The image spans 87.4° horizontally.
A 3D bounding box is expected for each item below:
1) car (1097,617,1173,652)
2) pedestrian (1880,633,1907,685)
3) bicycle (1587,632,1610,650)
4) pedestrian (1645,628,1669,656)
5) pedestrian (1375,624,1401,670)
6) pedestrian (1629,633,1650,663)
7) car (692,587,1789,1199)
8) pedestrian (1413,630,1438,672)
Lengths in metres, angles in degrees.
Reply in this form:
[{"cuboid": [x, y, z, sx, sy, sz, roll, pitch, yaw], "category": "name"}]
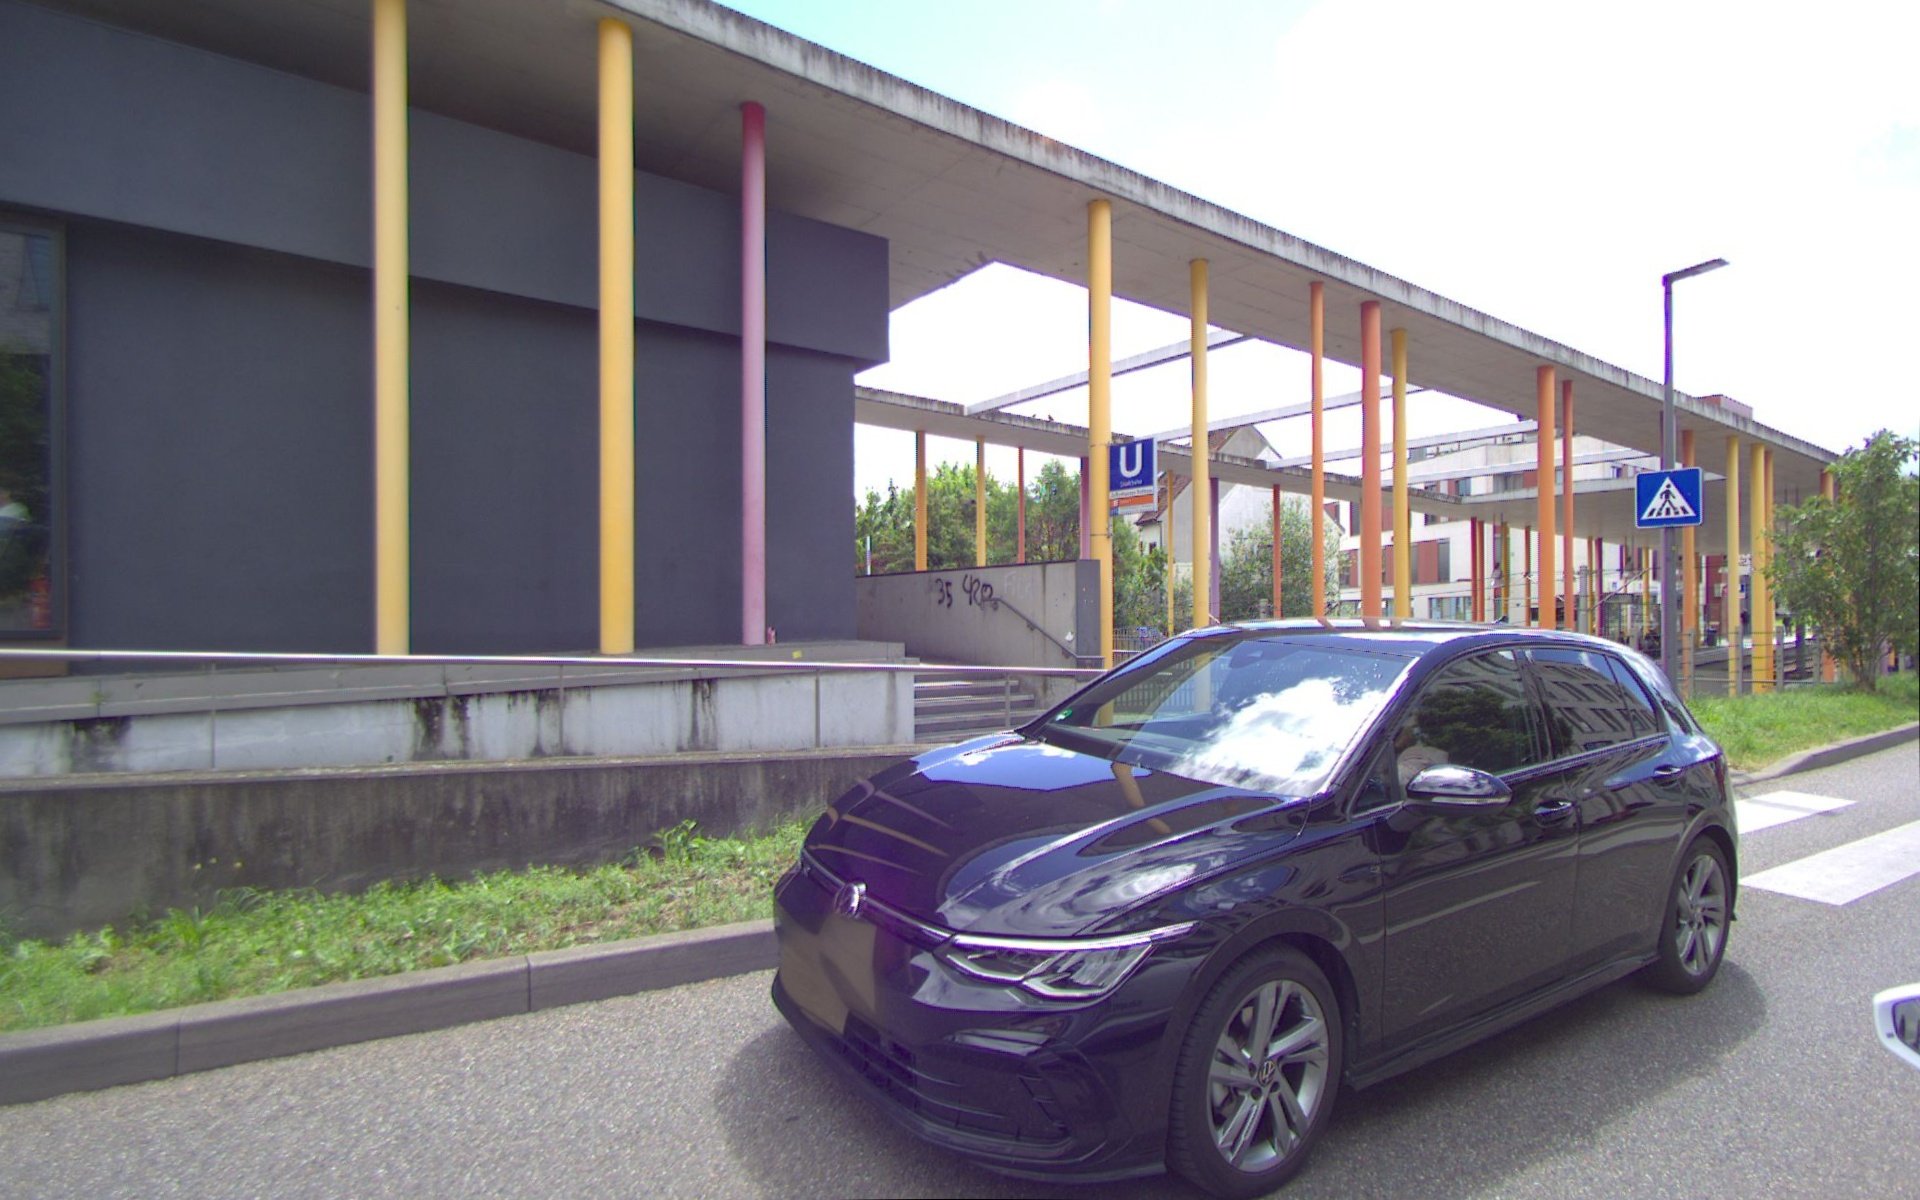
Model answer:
[{"cuboid": [7.879, 1.548, 45.577, 1.547, 1.419, 3.980, 2, -1, -21], "category": "car"}, {"cuboid": [33.966, 2.127, 36.543, 0.703, 1.854, 0.583, 2, -1, -35], "category": "pedestrian"}, {"cuboid": [35.611, 2.292, 55.995, 1.596, 0.975, 0.480, 3, -1, -35], "category": "bicycle"}, {"cuboid": [35.380, 2.121, 50.952, 0.695, 1.398, 0.817, -1, 1, -36], "category": "pedestrian"}, {"cuboid": [18.014, 1.973, 42.281, 0.793, 1.908, 0.637, 2, -1, -37], "category": "pedestrian"}, {"cuboid": [33.607, 2.374, 49.693, 0.695, 1.398, 0.647, -1, 1, -36], "category": "pedestrian"}, {"cuboid": [1.319, 0.742, 3.832, 4.191, 1.483, 1.761, 1, 0, -34], "category": "car"}, {"cuboid": [19.193, 2.116, 41.442, 0.724, 1.684, 0.637, 2, -1, -37], "category": "pedestrian"}]
